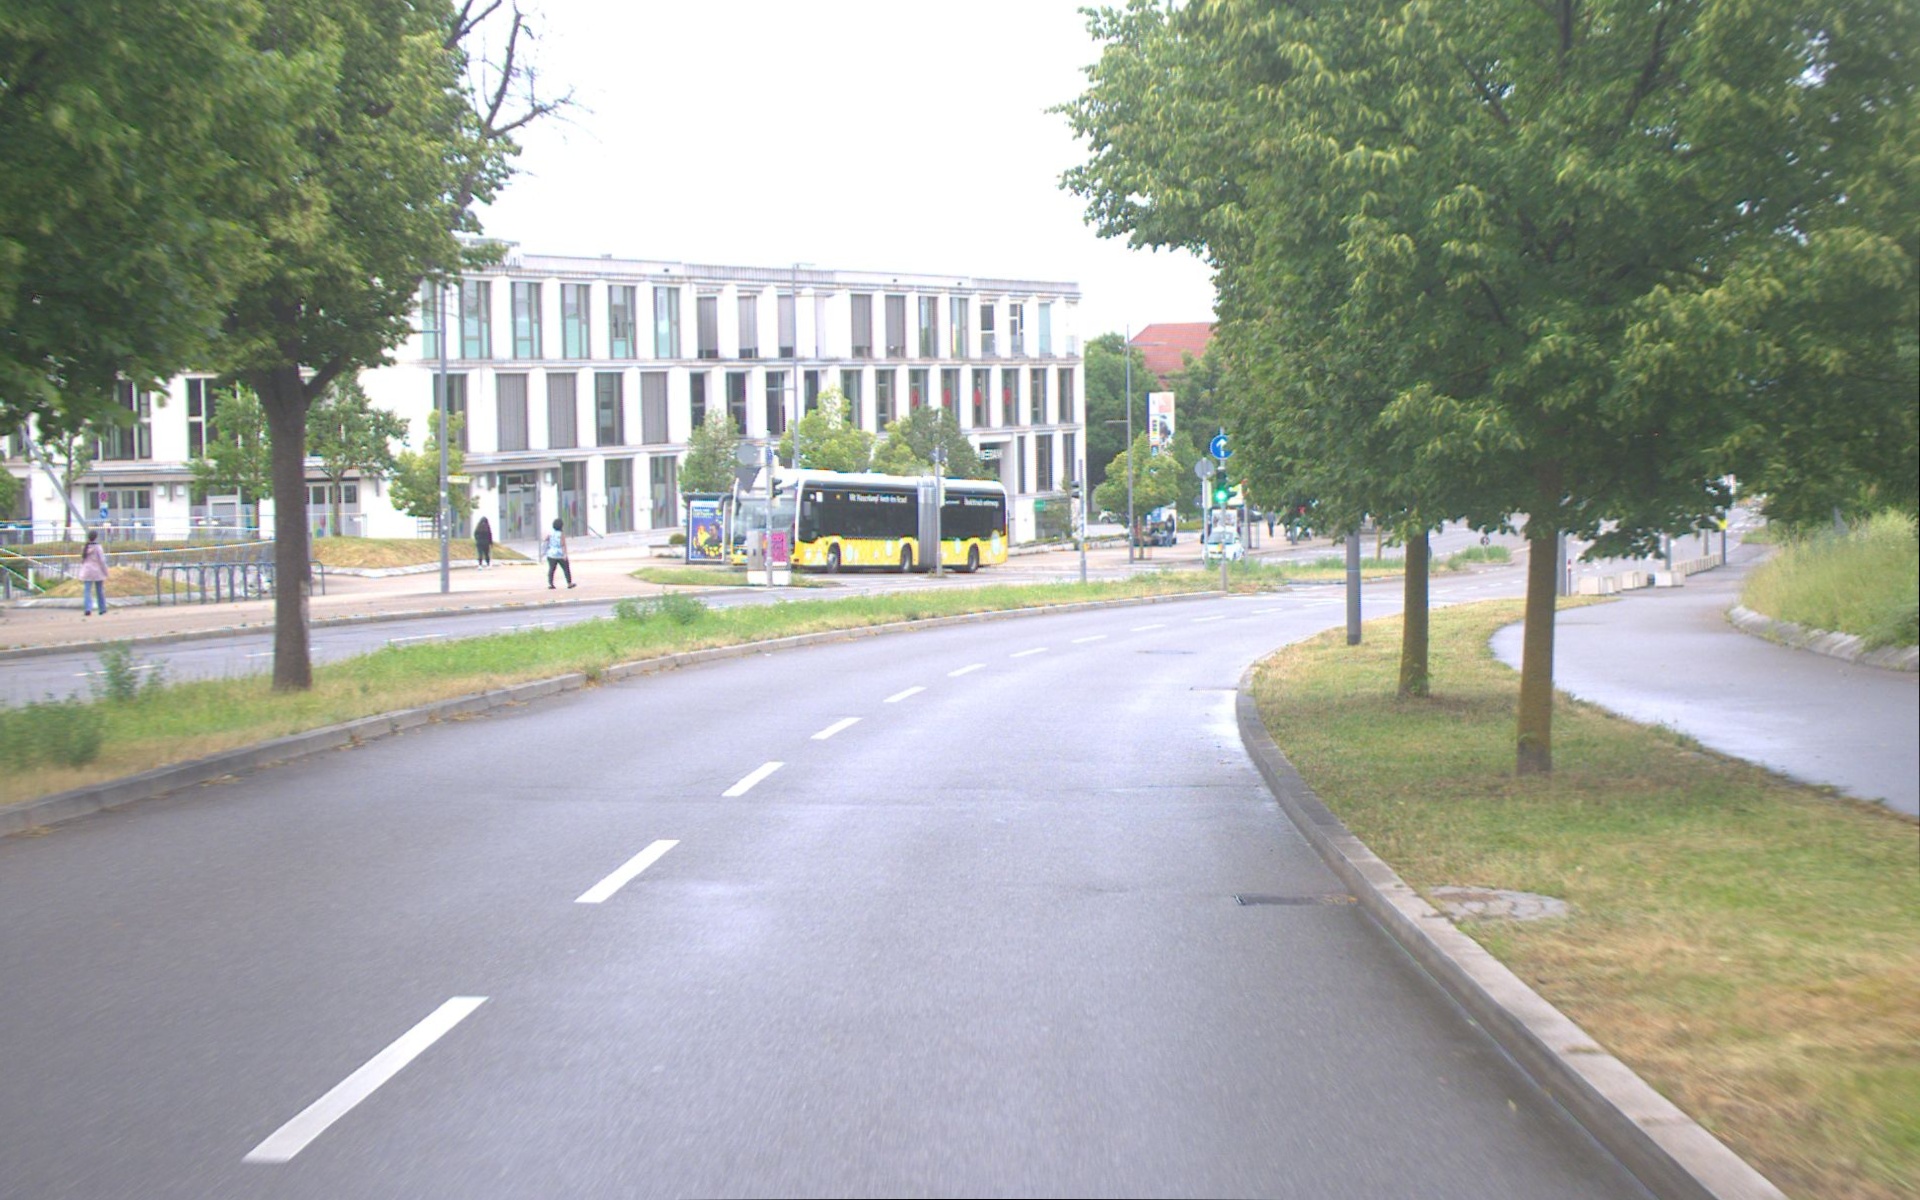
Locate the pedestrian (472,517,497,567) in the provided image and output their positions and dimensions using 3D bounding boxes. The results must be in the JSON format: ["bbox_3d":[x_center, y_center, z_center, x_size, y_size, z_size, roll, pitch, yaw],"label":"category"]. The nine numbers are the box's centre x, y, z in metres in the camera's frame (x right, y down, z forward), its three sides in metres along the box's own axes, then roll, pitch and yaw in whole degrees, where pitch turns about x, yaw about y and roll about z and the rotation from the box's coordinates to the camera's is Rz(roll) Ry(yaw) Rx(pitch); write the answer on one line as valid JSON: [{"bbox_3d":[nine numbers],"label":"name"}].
[{"bbox_3d":[-14.623,-1.774,105.785,0.682,1.519,0.719,0,0,-3],"label":"pedestrian"}]

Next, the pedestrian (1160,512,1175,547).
[{"bbox_3d":[11.191,-3.805,185.313,0.748,1.846,0.838,0,0,-2],"label":"pedestrian"}]

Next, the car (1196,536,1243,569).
[{"bbox_3d":[11.995,-2.176,158.930,1.480,1.489,2.527,0,0,21],"label":"car"}]

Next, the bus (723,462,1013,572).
[{"bbox_3d":[-2.847,-2.727,119.193,2.788,3.346,18.204,0,0,23],"label":"bus"}]

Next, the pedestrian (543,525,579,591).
[{"bbox_3d":[-9.560,-1.003,82.404,0.834,1.568,0.719,0,0,-9],"label":"pedestrian"}]

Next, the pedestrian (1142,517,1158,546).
[{"bbox_3d":[10.279,-3.687,185.764,0.835,1.527,0.751,0,0,3],"label":"pedestrian"}]

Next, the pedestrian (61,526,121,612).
[{"bbox_3d":[-16.437,-0.574,65.028,0.814,1.615,0.935,0,0,8],"label":"pedestrian"}]
